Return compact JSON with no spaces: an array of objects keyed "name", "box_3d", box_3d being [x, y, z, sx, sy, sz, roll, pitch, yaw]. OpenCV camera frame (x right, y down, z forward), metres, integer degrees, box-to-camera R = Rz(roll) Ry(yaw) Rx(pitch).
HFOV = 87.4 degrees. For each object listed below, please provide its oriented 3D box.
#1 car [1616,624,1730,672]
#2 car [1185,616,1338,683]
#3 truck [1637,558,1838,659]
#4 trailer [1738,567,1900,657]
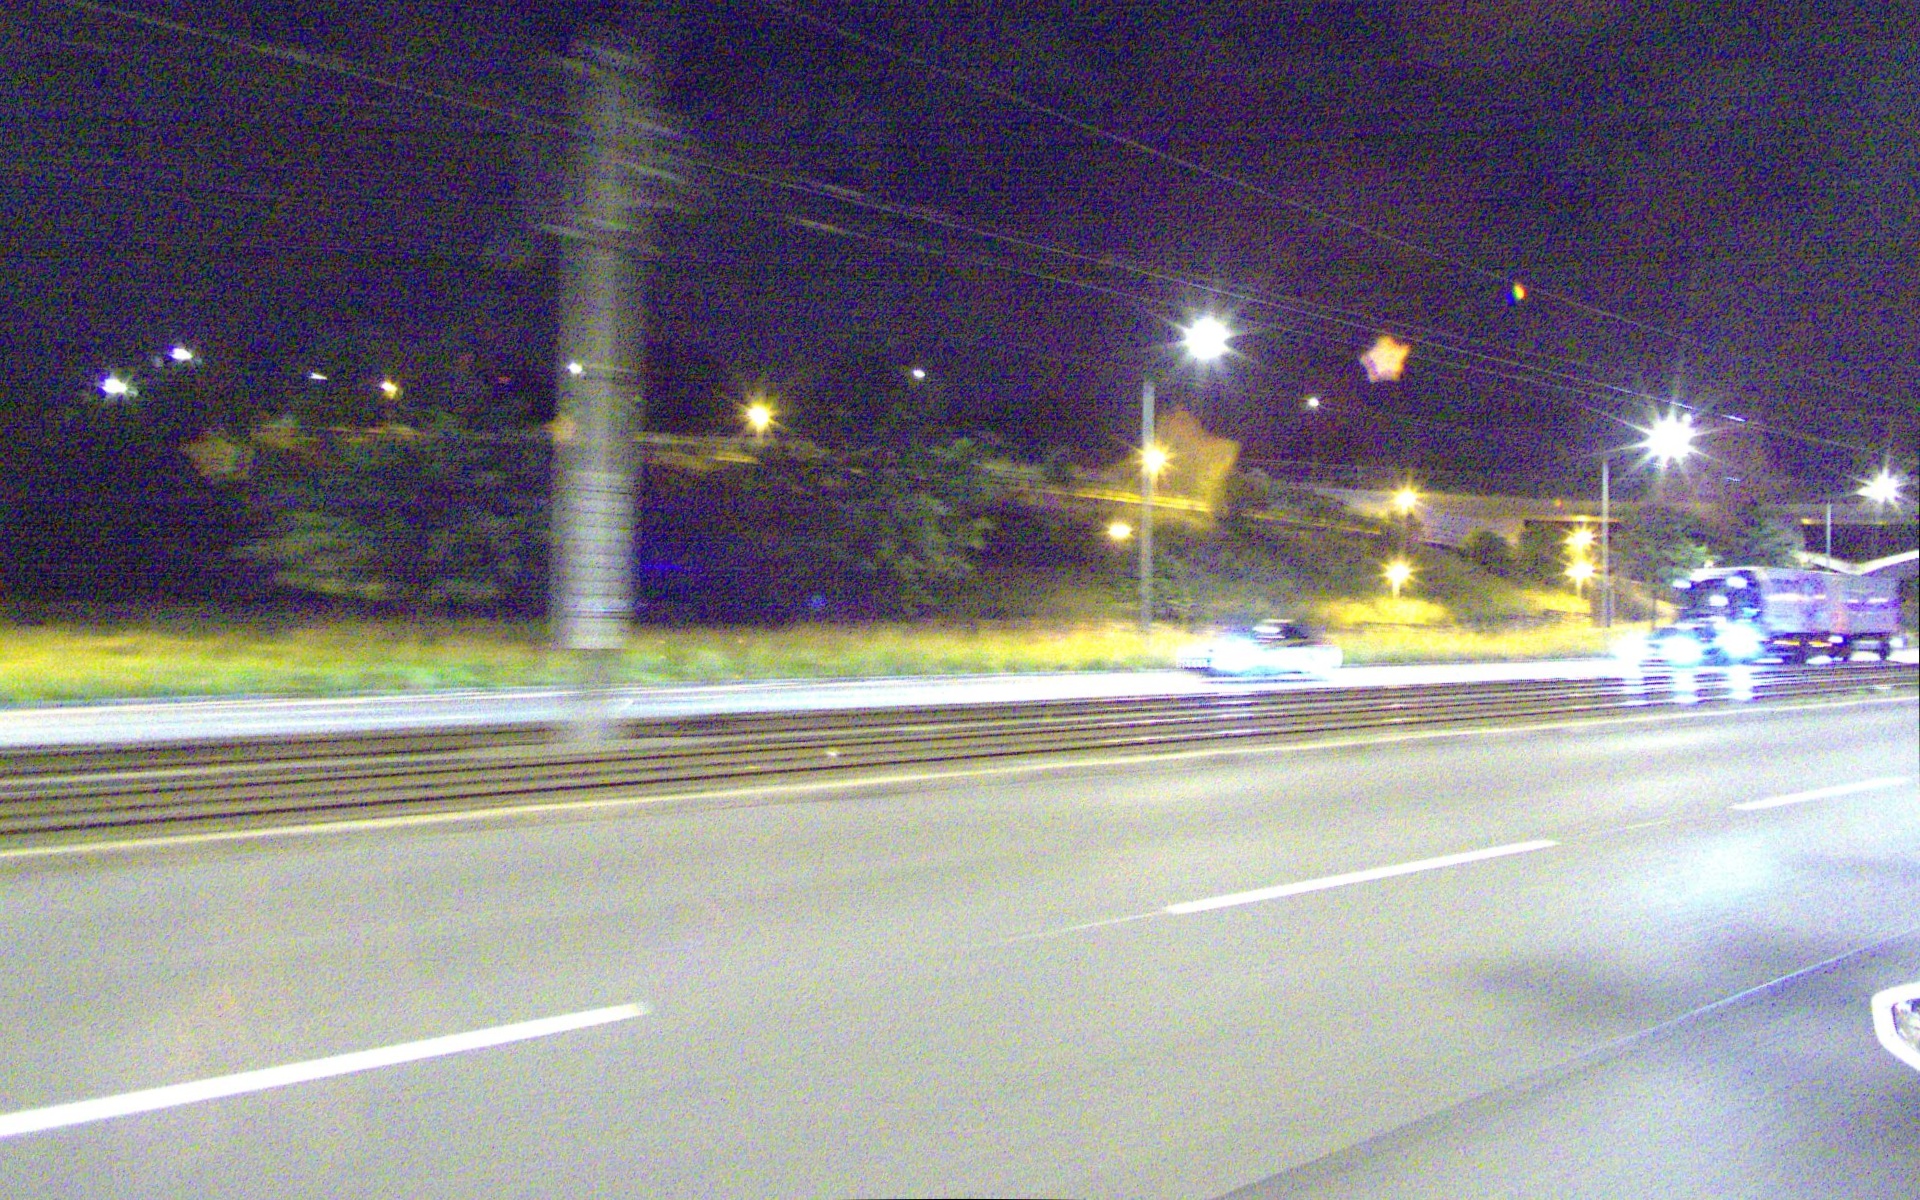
[{"name":"car","box_3d":[23.957,1.591,33.701,4.042,1.519,1.793,2,-1,-34]},{"name":"car","box_3d":[8.148,1.317,27.074,3.915,1.647,1.717,2,0,-30]},{"name":"truck","box_3d":[34.123,0.439,43.944,10.308,4.007,3.660,2,0,-33]},{"name":"trailer","box_3d":[42.039,0.608,49.080,8.303,4.043,3.675,2,0,-32]}]
